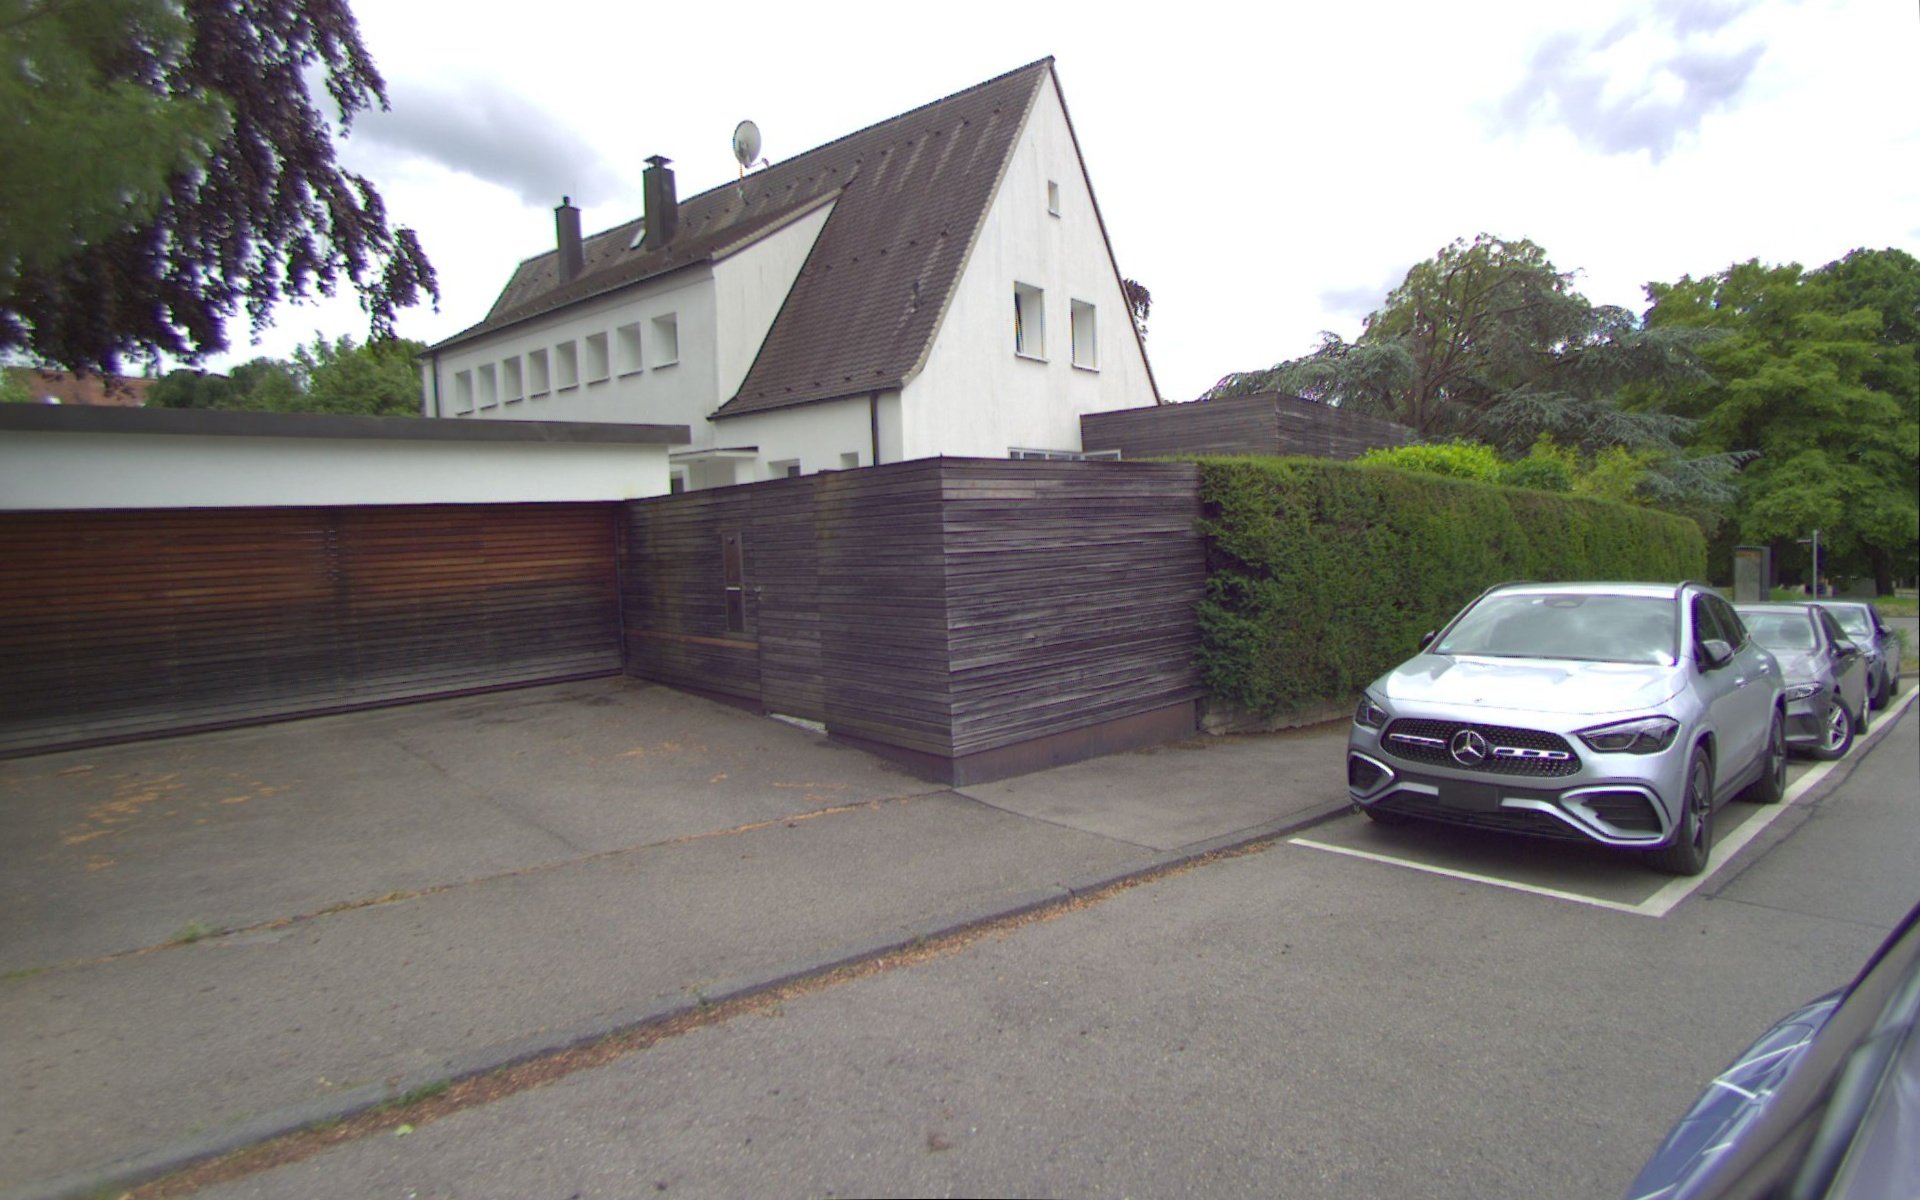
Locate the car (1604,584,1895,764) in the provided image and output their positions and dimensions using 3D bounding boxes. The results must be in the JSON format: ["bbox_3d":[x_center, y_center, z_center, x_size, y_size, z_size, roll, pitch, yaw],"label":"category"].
[{"bbox_3d":[8.378,0.593,10.601,4.103,1.482,1.856,-1,1,-44],"label":"car"}]

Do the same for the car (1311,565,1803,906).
[{"bbox_3d":[4.230,0.598,6.857,4.103,1.602,1.856,-1,1,-44],"label":"car"}]

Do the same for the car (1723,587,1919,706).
[{"bbox_3d":[12.709,0.562,14.828,3.934,1.482,1.856,-1,1,-44],"label":"car"}]
